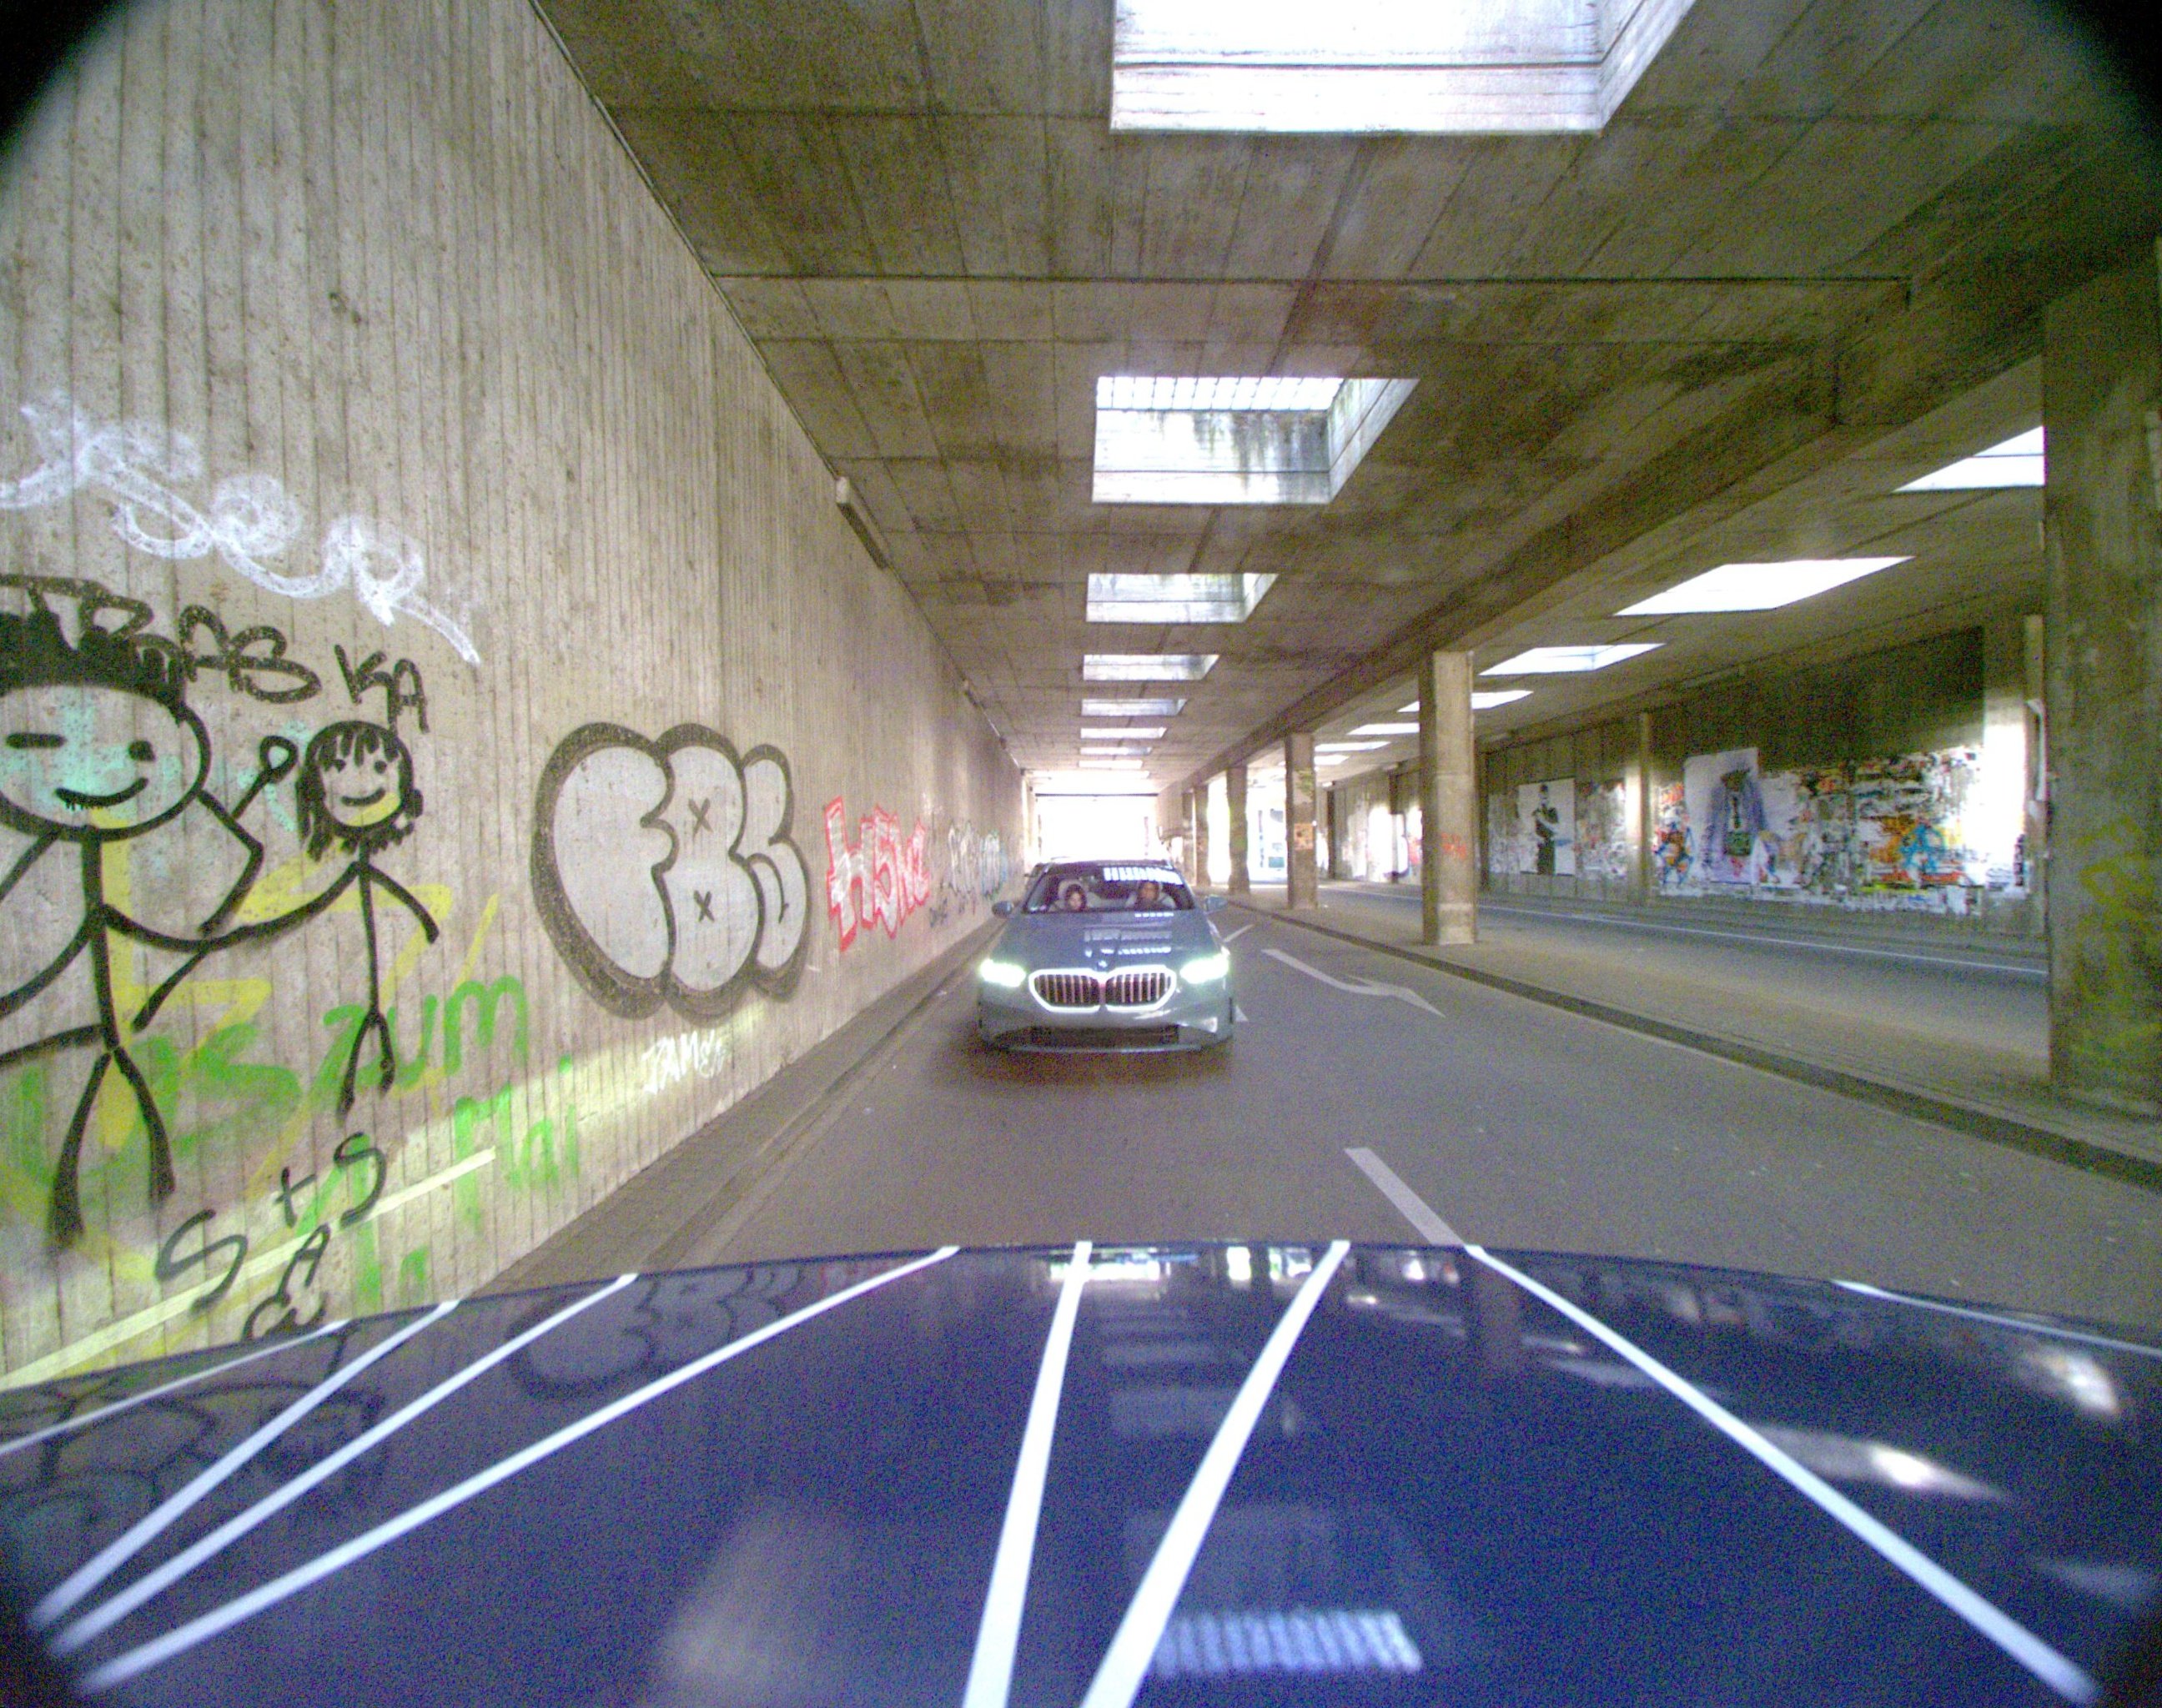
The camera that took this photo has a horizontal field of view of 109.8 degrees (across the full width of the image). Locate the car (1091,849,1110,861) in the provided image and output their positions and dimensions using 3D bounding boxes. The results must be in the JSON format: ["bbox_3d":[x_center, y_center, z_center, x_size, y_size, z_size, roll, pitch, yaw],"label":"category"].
[{"bbox_3d":[2.480,0.149,97.955,1.741,1.519,3.786,-2,0,-9],"label":"car"}]

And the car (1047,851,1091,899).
[{"bbox_3d":[-0.462,0.775,29.907,1.592,1.711,3.694,-2,0,0],"label":"car"}]

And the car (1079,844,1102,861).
[{"bbox_3d":[1.284,-0.181,103.647,2.161,2.150,4.785,-2,0,-12],"label":"car"}]

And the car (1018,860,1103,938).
[{"bbox_3d":[-0.425,0.924,17.274,1.679,1.516,3.969,-2,0,0],"label":"car"}]

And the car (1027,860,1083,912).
[{"bbox_3d":[-0.761,0.952,23.901,1.592,1.432,3.806,-2,0,0],"label":"car"}]

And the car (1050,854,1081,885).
[{"bbox_3d":[-0.806,0.810,41.235,1.592,1.562,3.694,-2,0,0],"label":"car"}]

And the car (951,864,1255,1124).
[{"bbox_3d":[0.127,0.909,7.266,1.861,1.516,5.042,-2,0,0],"label":"car"}]
